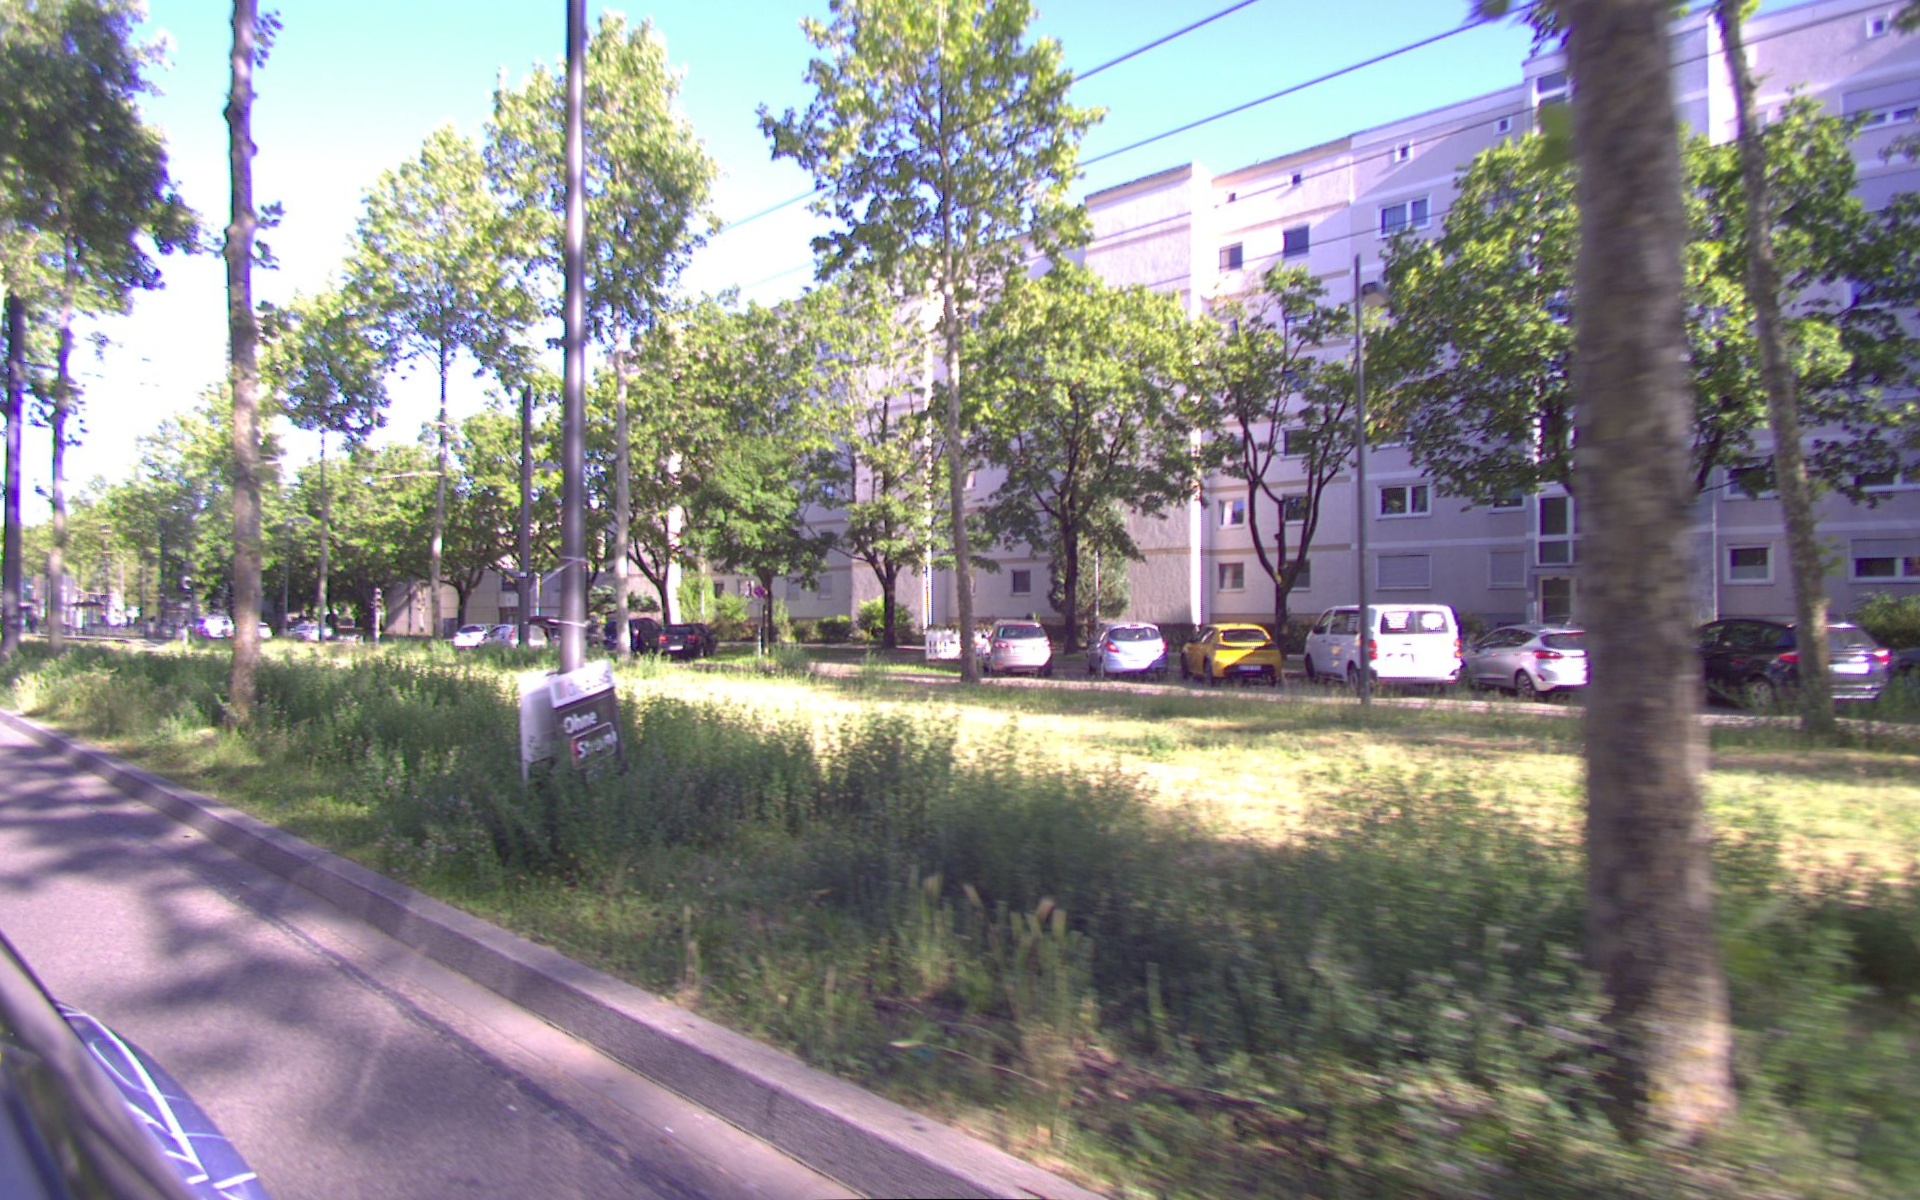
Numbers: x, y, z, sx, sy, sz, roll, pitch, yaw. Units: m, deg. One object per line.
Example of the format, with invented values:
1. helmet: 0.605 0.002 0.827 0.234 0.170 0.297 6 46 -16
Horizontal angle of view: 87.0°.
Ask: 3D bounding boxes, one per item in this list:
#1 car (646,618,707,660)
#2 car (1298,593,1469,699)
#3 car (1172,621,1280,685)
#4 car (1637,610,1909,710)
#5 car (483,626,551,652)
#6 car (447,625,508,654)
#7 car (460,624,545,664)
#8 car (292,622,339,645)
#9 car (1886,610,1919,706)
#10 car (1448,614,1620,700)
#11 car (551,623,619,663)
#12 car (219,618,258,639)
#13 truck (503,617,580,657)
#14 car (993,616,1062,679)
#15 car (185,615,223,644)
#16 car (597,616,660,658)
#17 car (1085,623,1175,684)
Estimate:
1. car: -11.381 1.547 40.835 1.626 1.487 4.090 -4 -1 -6
2. car: 9.117 0.955 22.302 1.867 2.022 4.794 -2 -1 3
3. car: 6.506 1.258 25.152 1.557 1.443 4.085 0 -1 -1
4. car: 14.102 0.997 17.925 1.796 1.542 4.076 -2 -2 7
5. car: -22.214 1.916 50.888 1.814 1.256 3.826 0 -2 -1
6. car: -25.158 2.028 52.905 1.811 1.446 3.832 0 -2 -8
7. car: -18.336 1.723 40.502 3.847 1.497 1.629 0 -2 41
8. car: -44.419 2.289 69.713 4.200 1.557 1.695 -2 -2 43
9. car: 17.084 0.907 15.483 1.967 1.619 4.085 -2 -2 0
10. car: 11.532 1.080 20.644 1.560 1.443 4.076 -2 1 7
11. car: -16.674 1.889 45.183 1.627 1.658 4.087 1 -1 -2
12. car: -54.409 2.124 76.298 3.934 1.557 1.694 -2 -2 44
13. truck: -19.561 1.706 47.480 1.630 1.788 4.078 -1 -2 5
14. car: 1.843 1.293 28.816 1.628 1.658 4.085 -1 -1 -1
15. car: -62.869 2.452 84.118 3.931 2.279 1.696 -2 -2 41
16. car: -14.125 1.572 43.338 1.626 1.658 4.089 -2 -2 -5
17. car: 4.425 1.348 26.898 1.628 1.494 4.085 0 -1 -1
